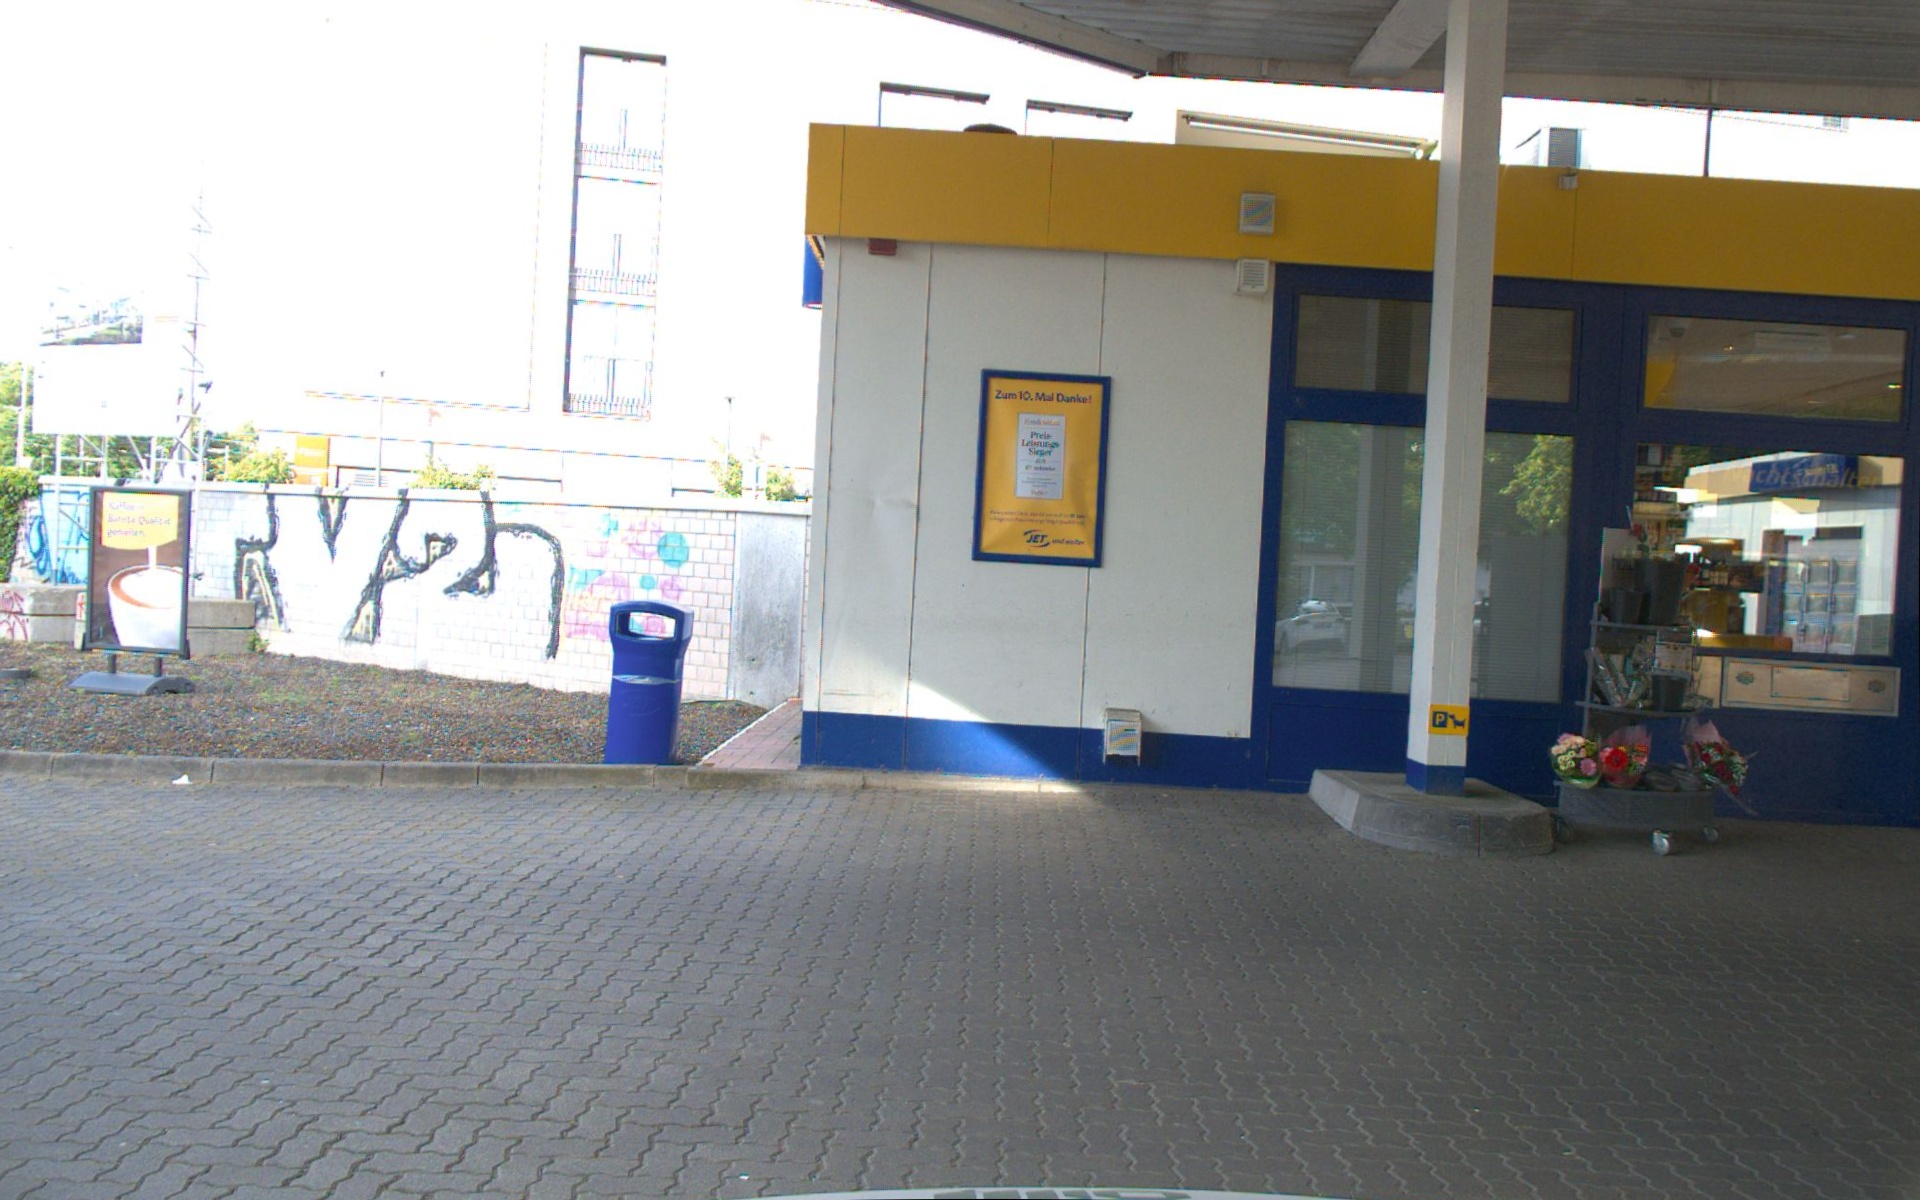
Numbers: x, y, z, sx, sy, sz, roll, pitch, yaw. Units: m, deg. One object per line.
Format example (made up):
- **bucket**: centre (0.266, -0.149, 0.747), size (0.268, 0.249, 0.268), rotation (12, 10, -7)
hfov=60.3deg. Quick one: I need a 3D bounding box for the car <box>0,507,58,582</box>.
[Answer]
- **car**: centre (-26.041, -1.537, 44.760), size (1.931, 1.922, 4.391), rotation (3, 1, -17)
